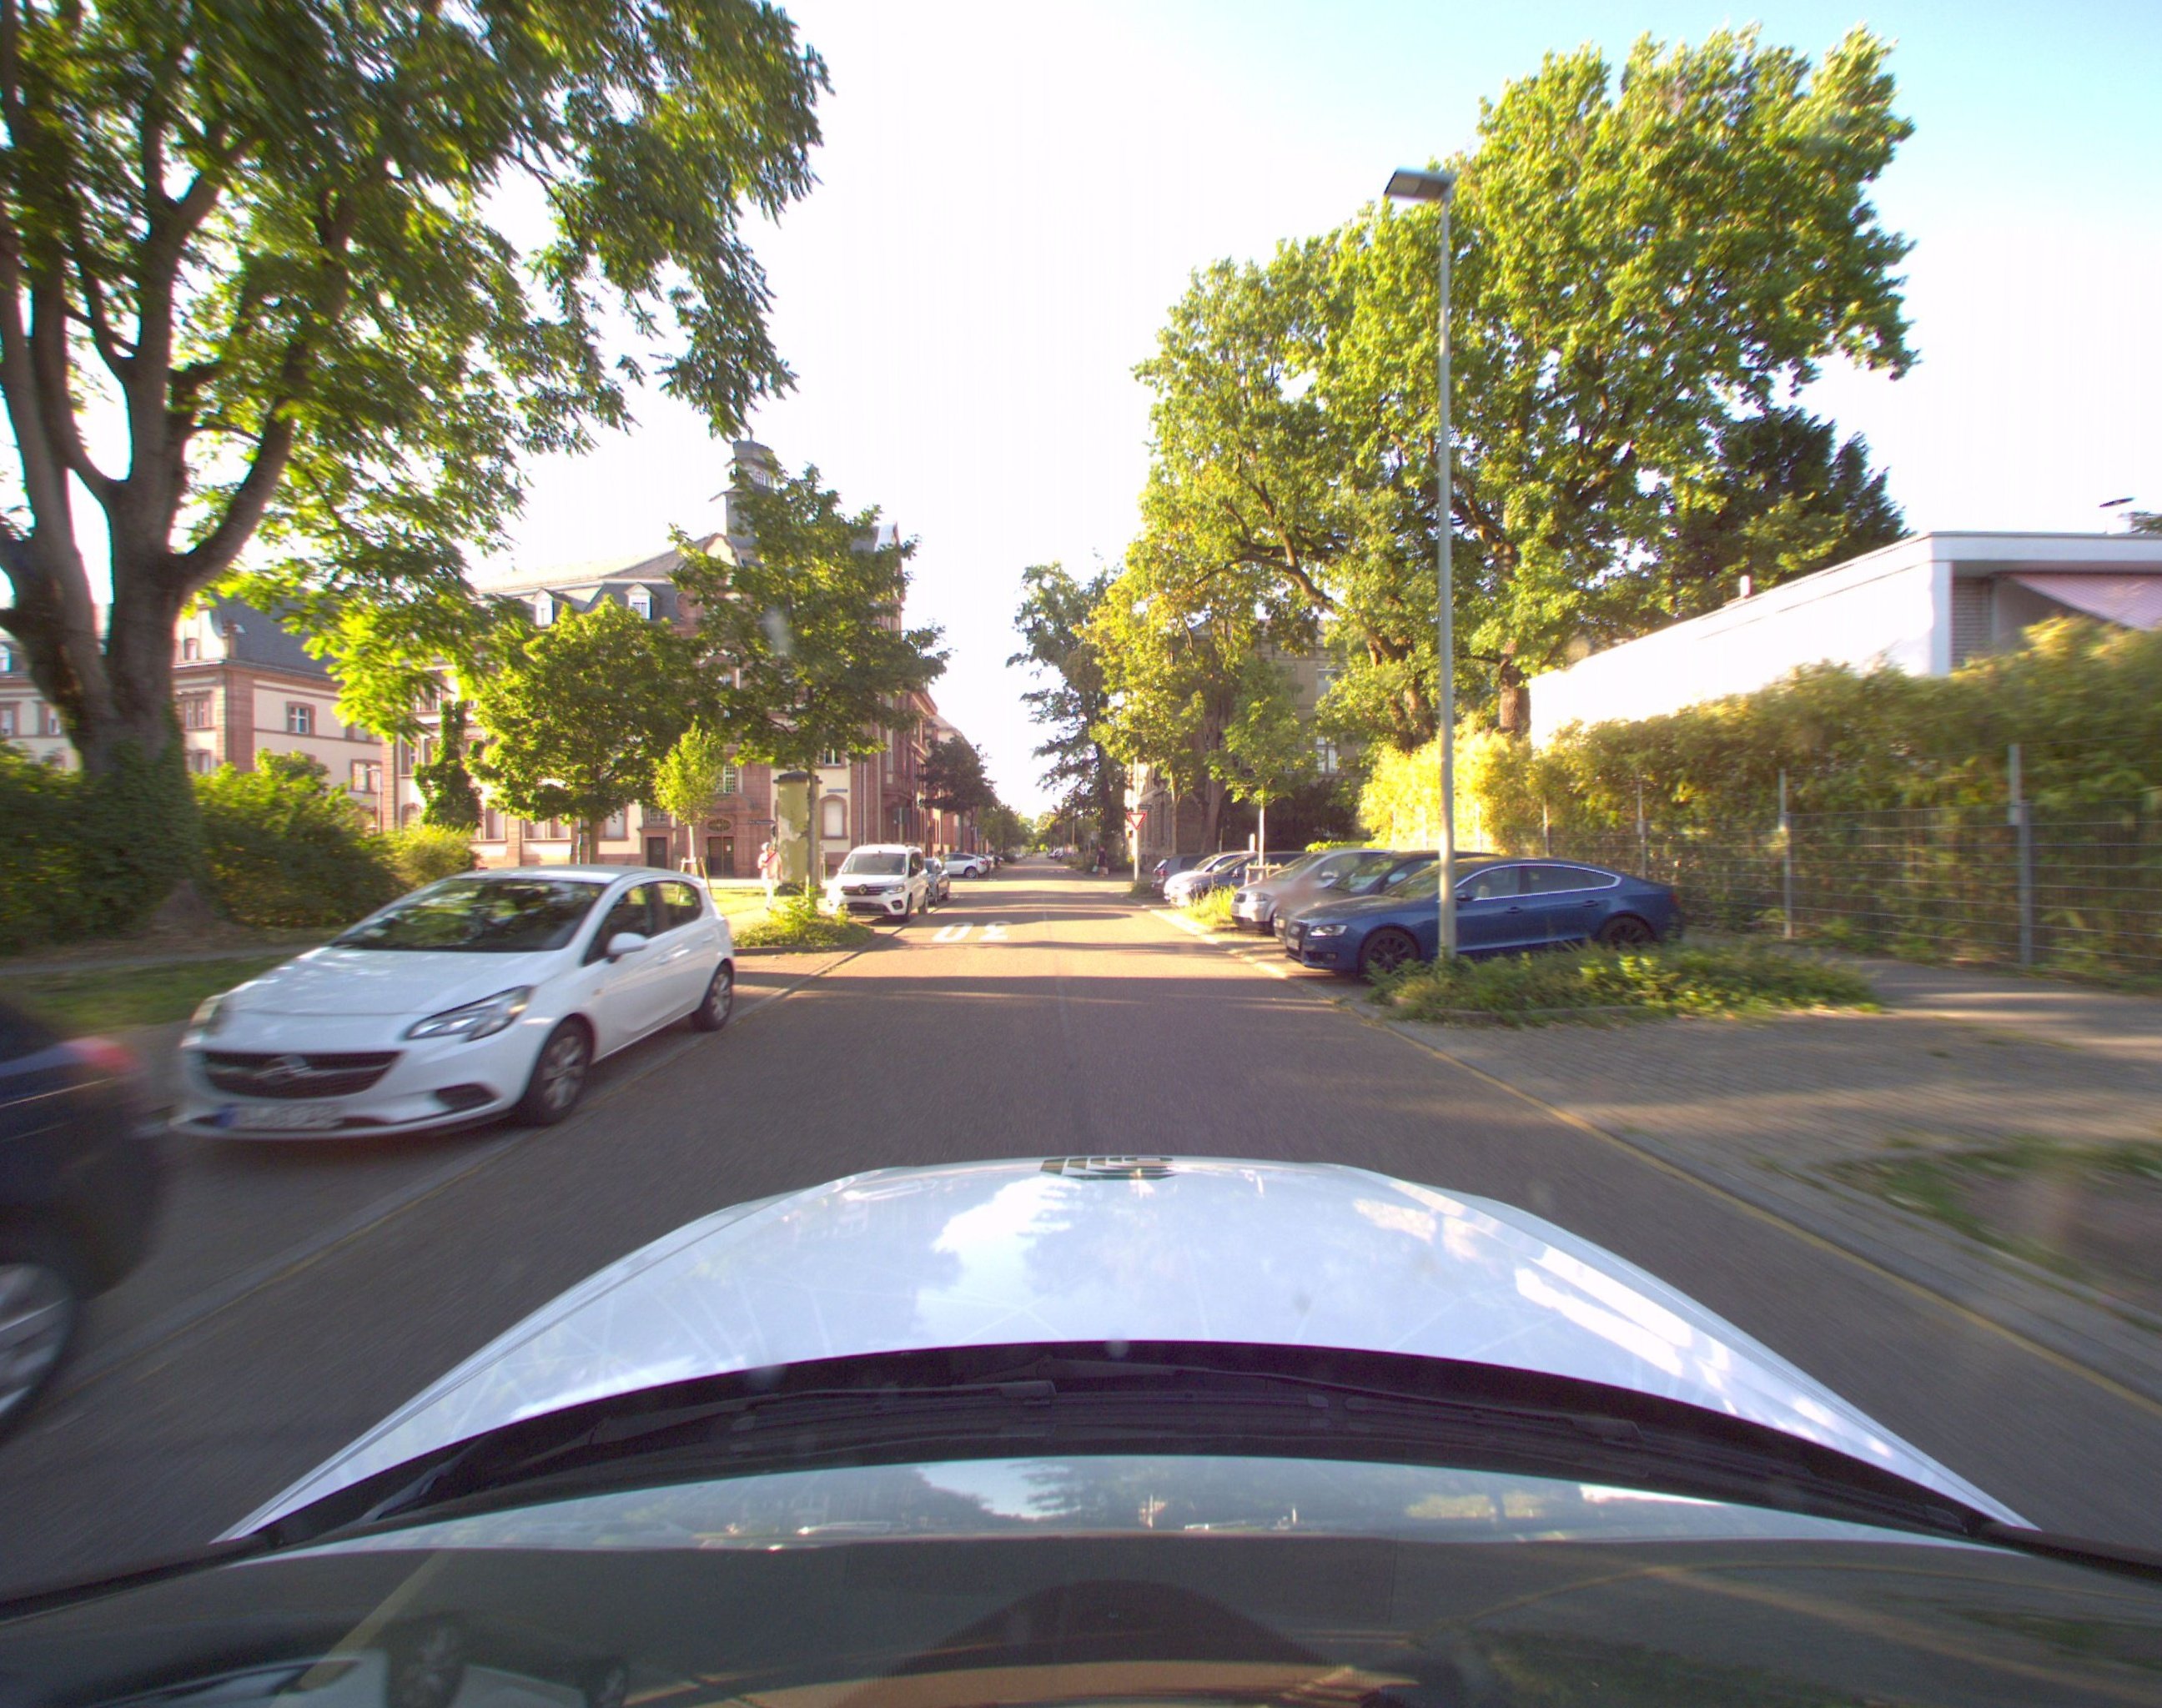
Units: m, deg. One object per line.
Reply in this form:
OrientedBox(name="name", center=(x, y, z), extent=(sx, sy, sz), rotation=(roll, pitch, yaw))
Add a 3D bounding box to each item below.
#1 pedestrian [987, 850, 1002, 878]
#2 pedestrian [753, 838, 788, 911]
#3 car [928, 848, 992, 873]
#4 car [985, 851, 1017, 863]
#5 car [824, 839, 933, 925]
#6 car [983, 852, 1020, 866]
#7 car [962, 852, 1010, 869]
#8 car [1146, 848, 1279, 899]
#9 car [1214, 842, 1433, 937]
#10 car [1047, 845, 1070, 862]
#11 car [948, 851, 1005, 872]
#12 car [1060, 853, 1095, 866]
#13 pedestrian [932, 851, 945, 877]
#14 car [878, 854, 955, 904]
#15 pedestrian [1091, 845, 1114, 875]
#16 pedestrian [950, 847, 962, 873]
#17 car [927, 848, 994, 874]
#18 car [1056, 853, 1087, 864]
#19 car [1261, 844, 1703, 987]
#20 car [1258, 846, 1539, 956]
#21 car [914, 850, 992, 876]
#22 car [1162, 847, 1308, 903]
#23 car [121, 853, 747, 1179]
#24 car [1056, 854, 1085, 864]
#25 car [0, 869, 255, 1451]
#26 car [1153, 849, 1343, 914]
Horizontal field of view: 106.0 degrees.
OrientedBox(name="pedestrian", center=(-4.966, 0.557, 46.592), extent=(0.784, 1.606, 0.718), rotation=(0, -1, -9))
OrientedBox(name="pedestrian", center=(-7.798, 0.500, 20.469), extent=(0.598, 1.784, 0.944), rotation=(0, 0, -6))
OrientedBox(name="car", center=(-8.785, 0.454, 59.251), extent=(4.476, 1.717, 1.839), rotation=(0, 0, -6))
OrientedBox(name="car", center=(-11.110, 0.377, 113.494), extent=(4.476, 1.608, 1.839), rotation=(0, 0, -6))
OrientedBox(name="car", center=(-4.797, 0.595, 19.948), extent=(1.777, 1.840, 4.547), rotation=(0, 0, -4))
OrientedBox(name="car", center=(-9.704, 0.585, 99.765), extent=(4.476, 1.608, 1.839), rotation=(0, 0, -6))
OrientedBox(name="car", center=(-9.101, 0.627, 78.204), extent=(4.476, 1.608, 1.839), rotation=(0, 0, -6))
OrientedBox(name="car", center=(4.156, 0.632, 26.200), extent=(3.944, 1.517, 1.872), rotation=(-1, -2, -2))
OrientedBox(name="car", center=(4.420, 0.596, 15.046), extent=(3.497, 1.584, 1.754), rotation=(-1, 0, -13))
OrientedBox(name="car", center=(-4.960, -0.056, 178.807), extent=(4.877, 3.617, 1.839), rotation=(0, 0, -4))
OrientedBox(name="car", center=(-8.367, 0.576, 65.709), extent=(4.476, 1.608, 1.839), rotation=(0, 0, -6))
OrientedBox(name="car", center=(-0.437, 0.693, 105.912), extent=(4.476, 1.608, 1.839), rotation=(0, 0, -6))
OrientedBox(name="pedestrian", center=(-11.189, 0.790, 63.728), extent=(0.790, 1.962, 0.713), rotation=(0, -2, -32))
OrientedBox(name="car", center=(-5.280, 0.749, 26.664), extent=(1.777, 1.505, 4.548), rotation=(0, 0, -3))
OrientedBox(name="pedestrian", center=(1.334, 0.375, 50.552), extent=(1.068, 1.858, 0.991), rotation=(0, 0, -35))
OrientedBox(name="pedestrian", center=(-9.365, 0.432, 61.017), extent=(0.785, 1.962, 0.718), rotation=(0, -1, -11))
OrientedBox(name="car", center=(-8.412, 0.463, 57.107), extent=(4.476, 1.717, 1.839), rotation=(0, 0, -6))
OrientedBox(name="car", center=(-1.447, 0.634, 123.041), extent=(4.576, 1.608, 1.839), rotation=(0, 0, -6))
OrientedBox(name="car", center=(4.793, 0.704, 10.216), extent=(4.577, 1.415, 1.921), rotation=(-3, -1, -2))
OrientedBox(name="car", center=(4.822, 0.660, 12.658), extent=(3.677, 1.524, 1.787), rotation=(-1, 0, -7))
OrientedBox(name="car", center=(-8.209, 0.545, 52.577), extent=(4.835, 1.594, 1.839), rotation=(0, 0, -6))
OrientedBox(name="car", center=(4.391, 0.586, 23.639), extent=(3.941, 1.516, 1.674), rotation=(-1, 0, -1))
OrientedBox(name="car", center=(-3.891, 0.769, 5.863), extent=(1.589, 1.526, 3.860), rotation=(0, 0, -4))
OrientedBox(name="car", center=(-1.660, 0.826, 131.575), extent=(4.576, 1.608, 1.839), rotation=(0, 0, -6))
OrientedBox(name="car", center=(-3.593, 0.813, 0.778), extent=(1.546, 1.494, 3.943), rotation=(0, 0, 0))
OrientedBox(name="car", center=(4.244, 0.665, 21.074), extent=(4.485, 1.549, 1.887), rotation=(-1, 0, -6))
